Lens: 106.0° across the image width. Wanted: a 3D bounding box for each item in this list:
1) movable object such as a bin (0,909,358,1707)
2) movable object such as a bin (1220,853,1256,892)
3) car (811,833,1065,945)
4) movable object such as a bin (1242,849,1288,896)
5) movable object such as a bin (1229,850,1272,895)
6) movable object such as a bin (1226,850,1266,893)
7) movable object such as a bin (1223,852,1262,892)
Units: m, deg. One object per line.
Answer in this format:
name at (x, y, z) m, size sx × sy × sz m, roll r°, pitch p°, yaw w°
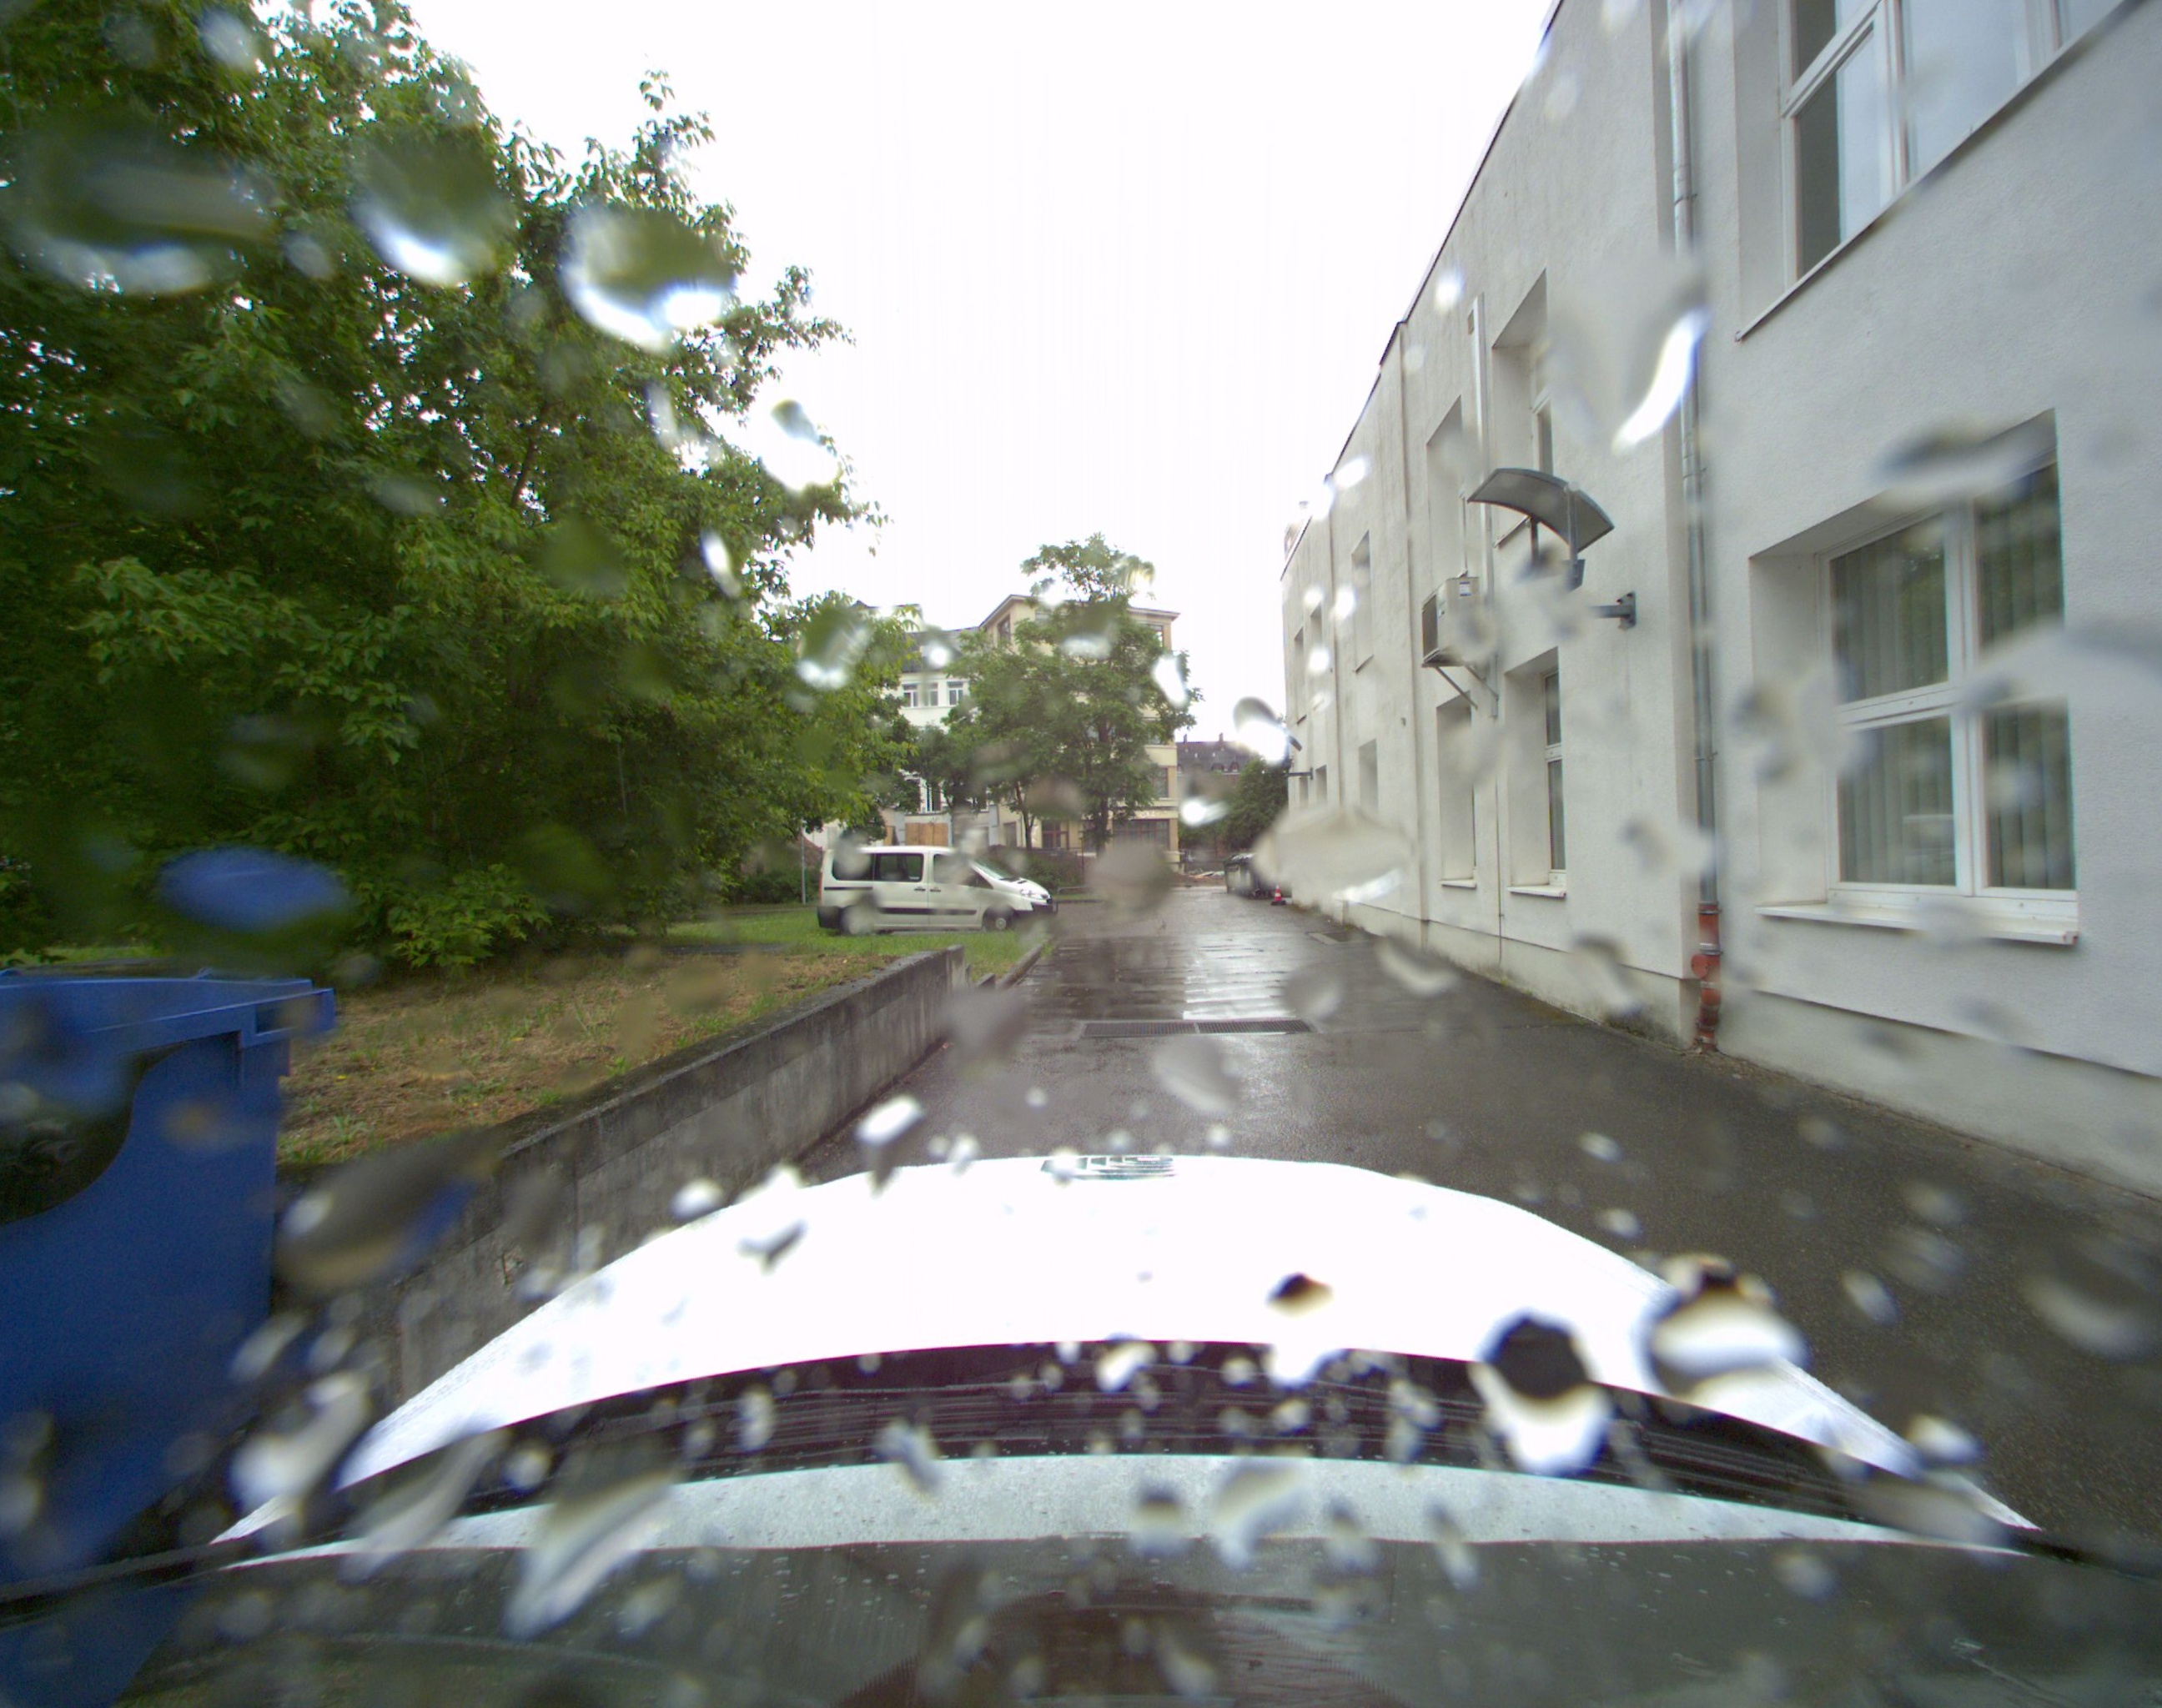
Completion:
movable object such as a bin at (-2.416, 0.823, 1.512) m, size 1.215 × 1.337 × 1.008 m, roll -2°, pitch 0°, yaw 5°
movable object such as a bin at (6.111, 0.729, 31.784) m, size 1.209 × 1.437 × 1.260 m, roll -2°, pitch -3°, yaw 3°
car at (-2.874, 0.689, 17.026) m, size 4.756 × 2.013 × 2.003 m, roll -3°, pitch 0°, yaw 5°
movable object such as a bin at (5.785, 0.601, 25.705) m, size 1.209 × 1.437 × 1.236 m, roll -1°, pitch -3°, yaw 3°
movable object such as a bin at (5.691, 0.626, 27.409) m, size 1.209 × 1.437 × 1.295 m, roll -2°, pitch -3°, yaw 3°
movable object such as a bin at (5.867, 0.651, 29.034) m, size 1.209 × 1.468 × 1.236 m, roll -1°, pitch -3°, yaw 3°
movable object such as a bin at (6.013, 0.672, 30.408) m, size 1.209 × 1.437 × 1.260 m, roll -2°, pitch -3°, yaw 3°
